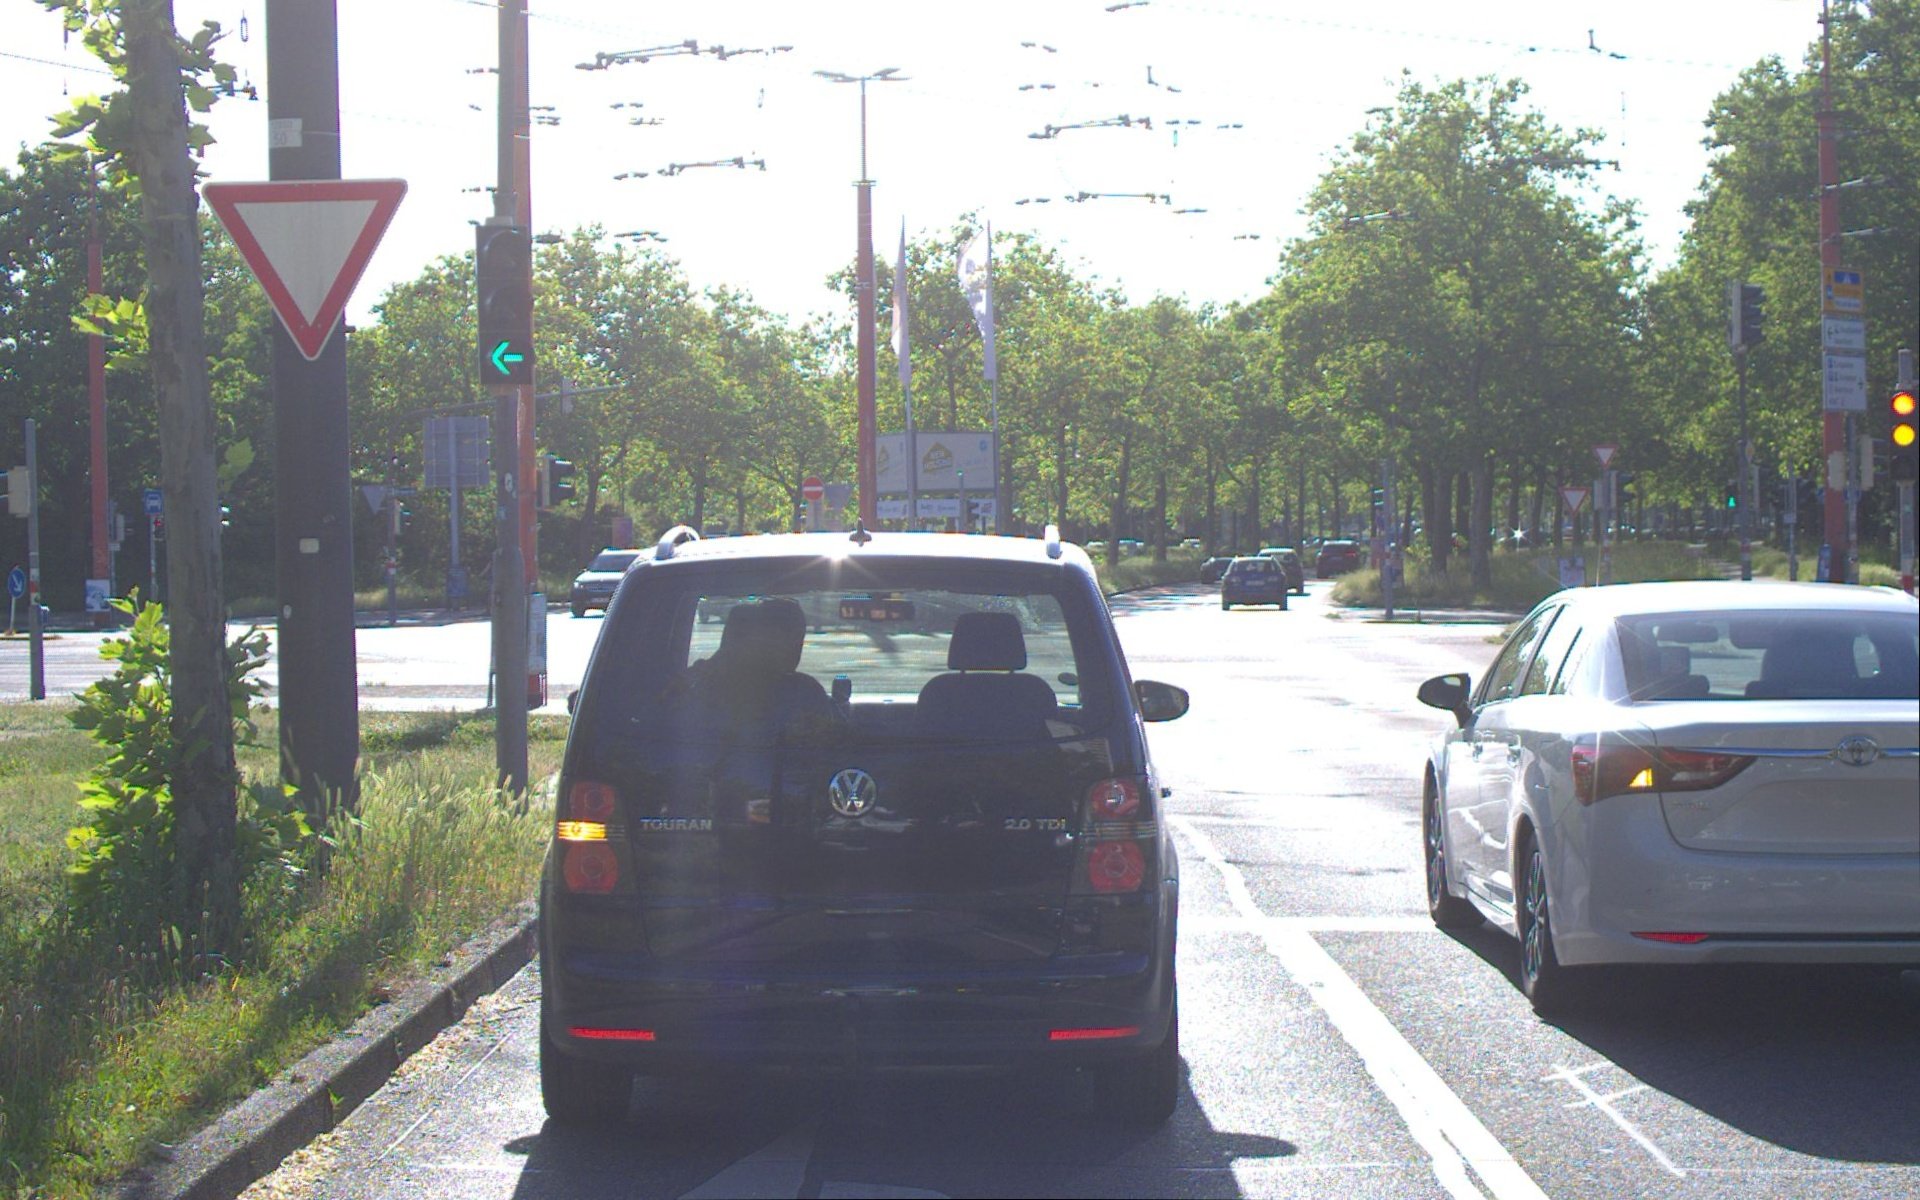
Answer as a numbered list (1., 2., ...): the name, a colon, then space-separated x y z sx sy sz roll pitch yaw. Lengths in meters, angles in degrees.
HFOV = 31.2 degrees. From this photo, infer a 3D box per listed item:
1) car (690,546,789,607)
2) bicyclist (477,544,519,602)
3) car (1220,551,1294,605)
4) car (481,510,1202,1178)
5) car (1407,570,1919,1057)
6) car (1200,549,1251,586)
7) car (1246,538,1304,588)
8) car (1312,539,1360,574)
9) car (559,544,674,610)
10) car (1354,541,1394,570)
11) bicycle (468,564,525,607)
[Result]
1. car: -5.806 -0.641 90.948 1.768 1.533 4.090 0 1 9
2. bicyclist: -12.626 -0.743 93.884 0.759 1.552 0.980 -1 2 17
3. car: 8.027 -0.612 92.637 1.790 1.383 4.048 1 1 8
4. car: -0.300 0.557 10.942 1.767 1.638 4.923 0 1 0
5. car: 2.805 0.647 12.856 1.767 1.459 4.366 0 1 1
6. car: 10.485 -1.284 135.702 1.790 1.383 4.048 1 1 7
7. car: 10.584 -1.240 115.513 1.873 1.621 3.999 1 0 5
8. car: 16.325 -1.899 149.172 1.790 1.497 4.048 1 1 10
9. car: -9.290 -0.650 93.270 1.903 1.720 4.652 0 1 10
10. car: 20.491 -2.231 170.107 1.790 1.383 4.048 1 1 9
11. bicycle: -12.641 -0.399 93.813 0.764 1.087 2.014 -1 2 17
